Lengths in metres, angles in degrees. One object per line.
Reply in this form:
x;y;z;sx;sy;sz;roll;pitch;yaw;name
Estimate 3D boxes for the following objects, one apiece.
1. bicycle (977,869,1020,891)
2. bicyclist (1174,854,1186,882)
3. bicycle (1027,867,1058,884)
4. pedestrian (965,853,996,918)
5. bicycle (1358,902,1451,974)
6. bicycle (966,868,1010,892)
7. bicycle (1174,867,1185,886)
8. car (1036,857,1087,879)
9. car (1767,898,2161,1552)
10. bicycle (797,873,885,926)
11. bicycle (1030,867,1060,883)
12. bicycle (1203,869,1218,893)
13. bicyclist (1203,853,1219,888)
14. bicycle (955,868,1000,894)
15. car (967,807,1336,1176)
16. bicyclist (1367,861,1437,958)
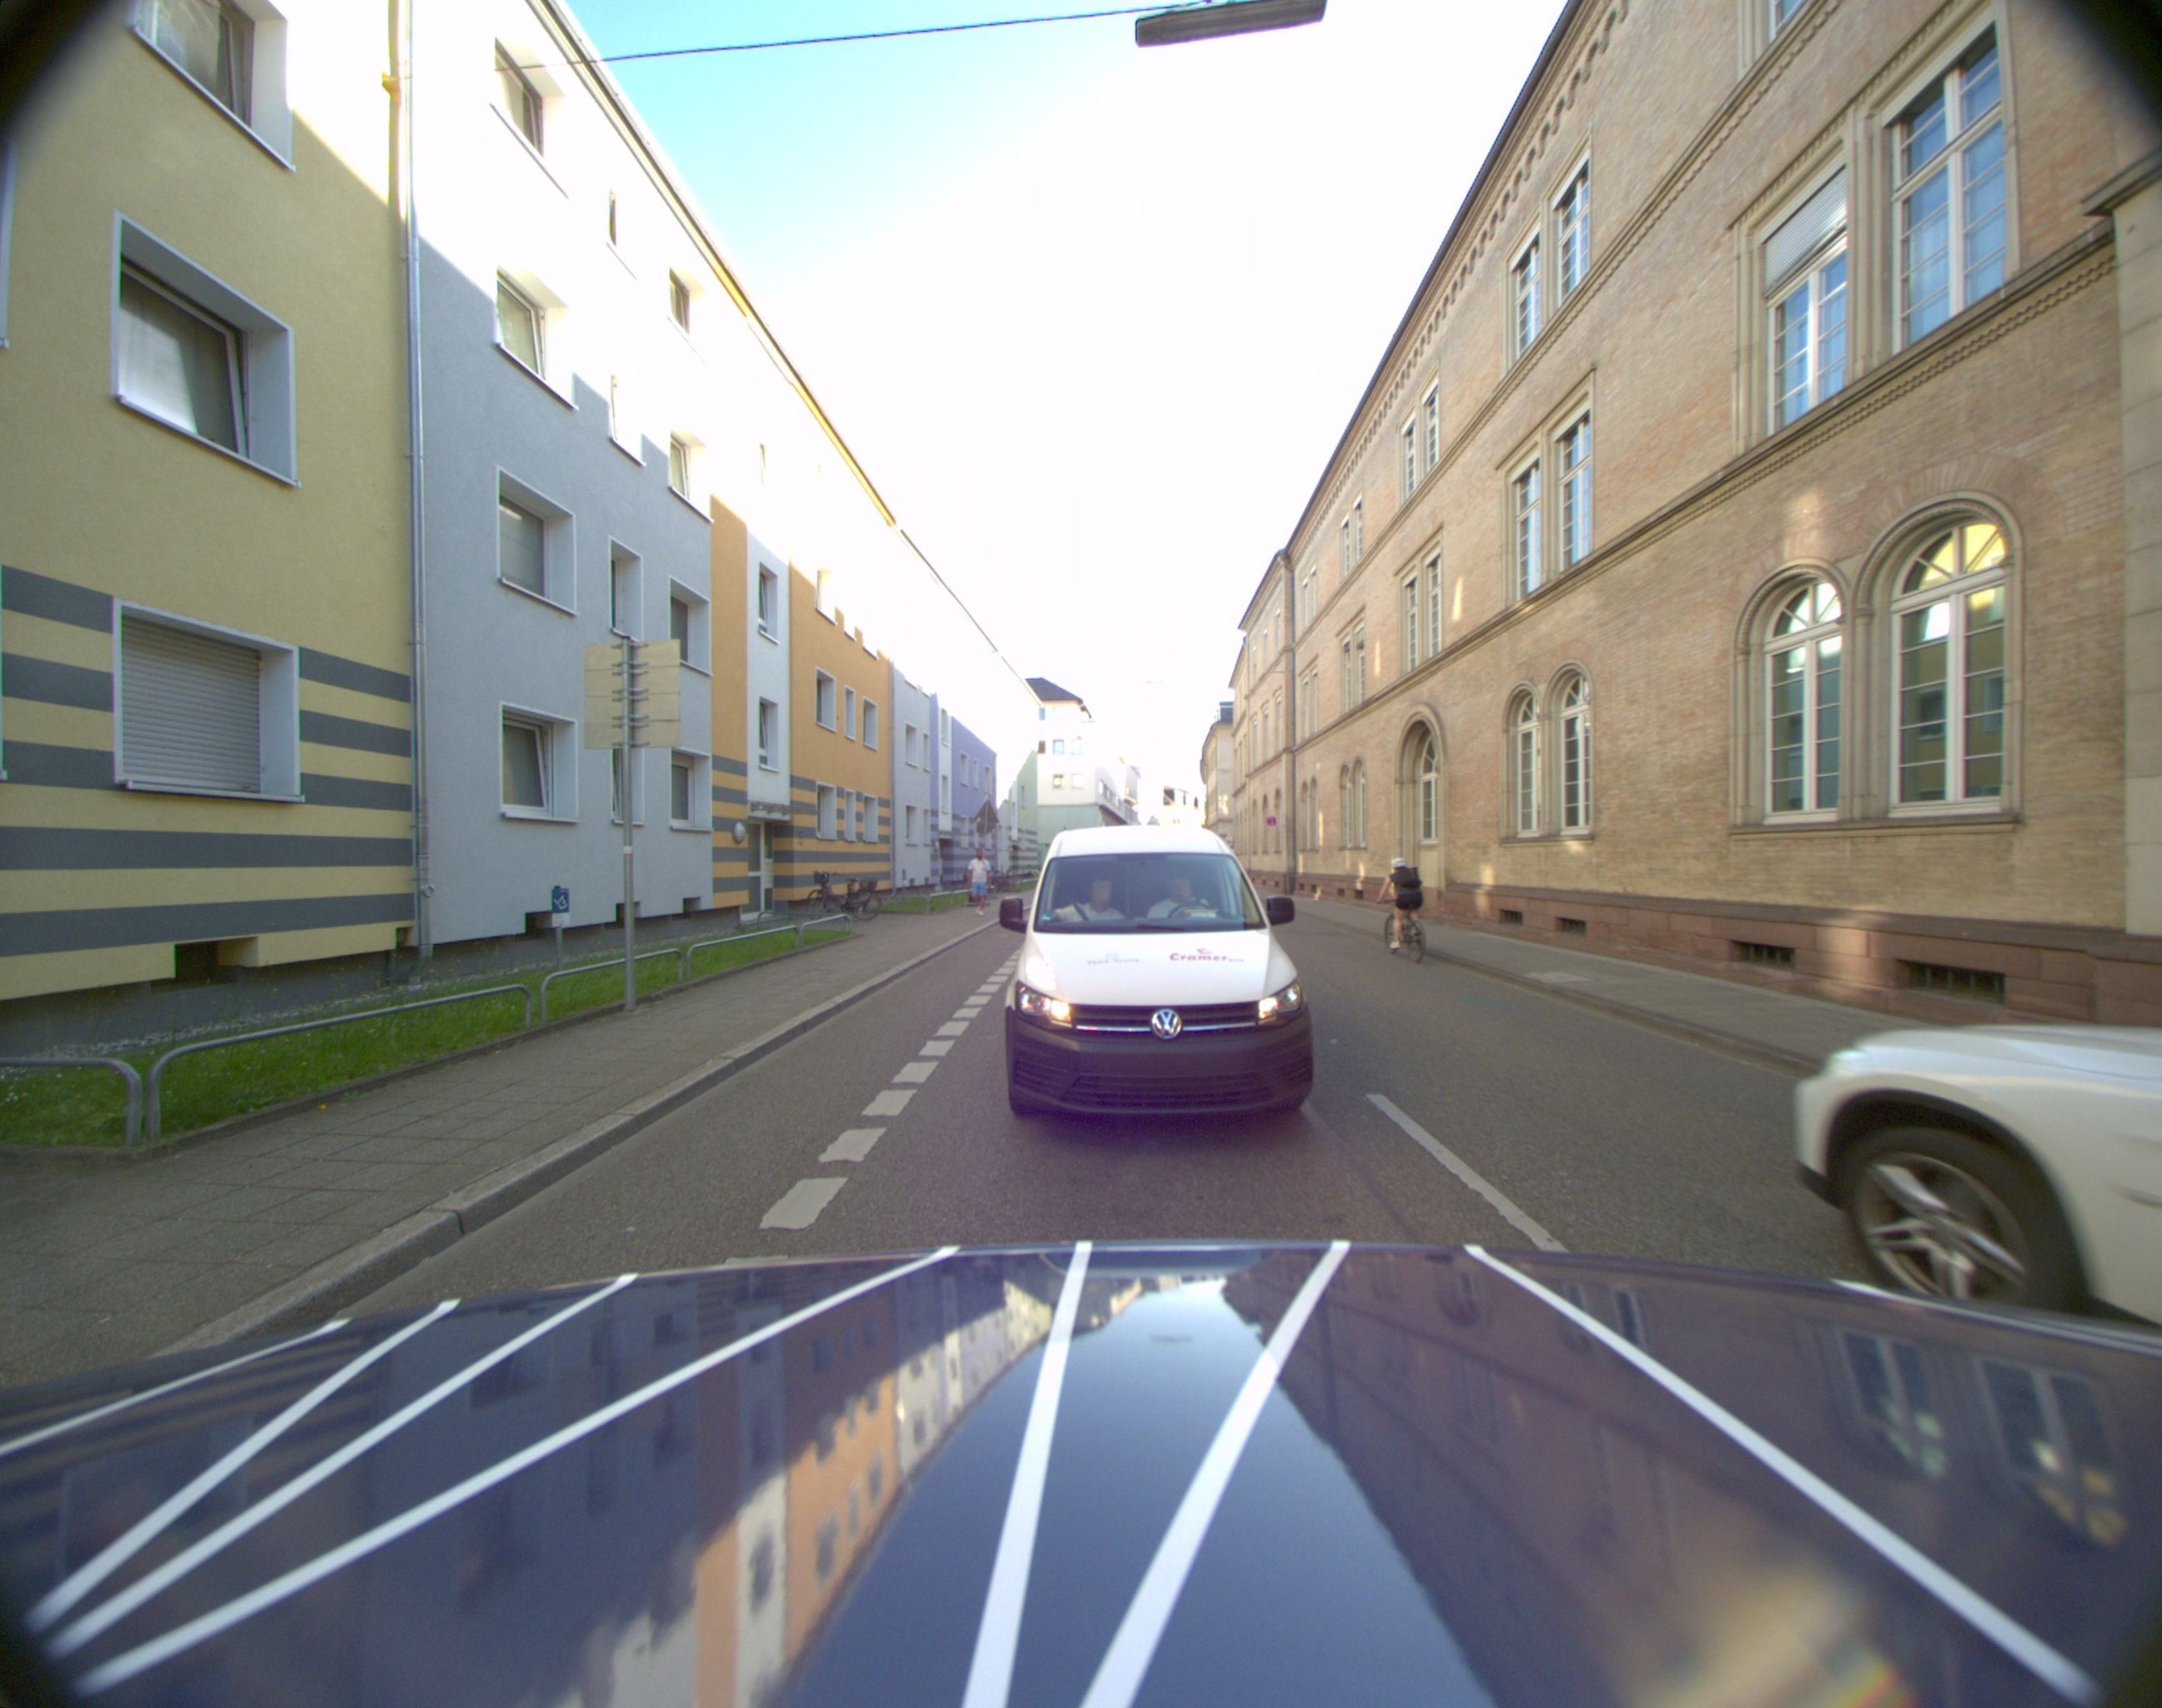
-3.661;1.157;33.825;1.775;0.934;0.584;1;1;7;bicycle
5.490;0.757;42.157;0.546;1.524;0.870;2;0;9;bicyclist
-2.317;1.303;46.080;1.775;0.934;0.584;1;1;7;bicycle
-2.620;0.806;19.821;0.644;1.662;0.834;1;0;3;pedestrian
5.100;1.299;12.121;0.687;0.919;1.766;2;0;-1;bicycle
-4.051;1.119;33.209;1.775;0.990;0.584;1;1;7;bicycle
5.452;1.224;41.988;0.546;1.001;1.758;2;0;9;bicycle
-1.597;1.169;63.484;3.995;1.681;1.901;-2;1;5;car
3.552;0.983;0.860;1.689;1.573;4.275;2;0;1;car
-5.395;1.026;17.110;1.776;1.118;0.583;1;1;-1;bicycle
-2.237;1.335;47.618;1.775;0.934;0.584;1;1;7;bicycle
6.016;1.235;35.202;0.651;1.001;1.808;2;0;10;bicycle
6.022;0.759;35.186;0.651;1.558;0.961;2;0;10;bicyclist
-4.327;1.129;31.867;1.775;0.990;0.584;1;1;7;bicycle
0.387;0.690;6.443;1.819;1.825;5.341;0;0;1;car
5.093;0.860;12.104;0.687;1.467;0.871;2;0;-1;bicyclist
